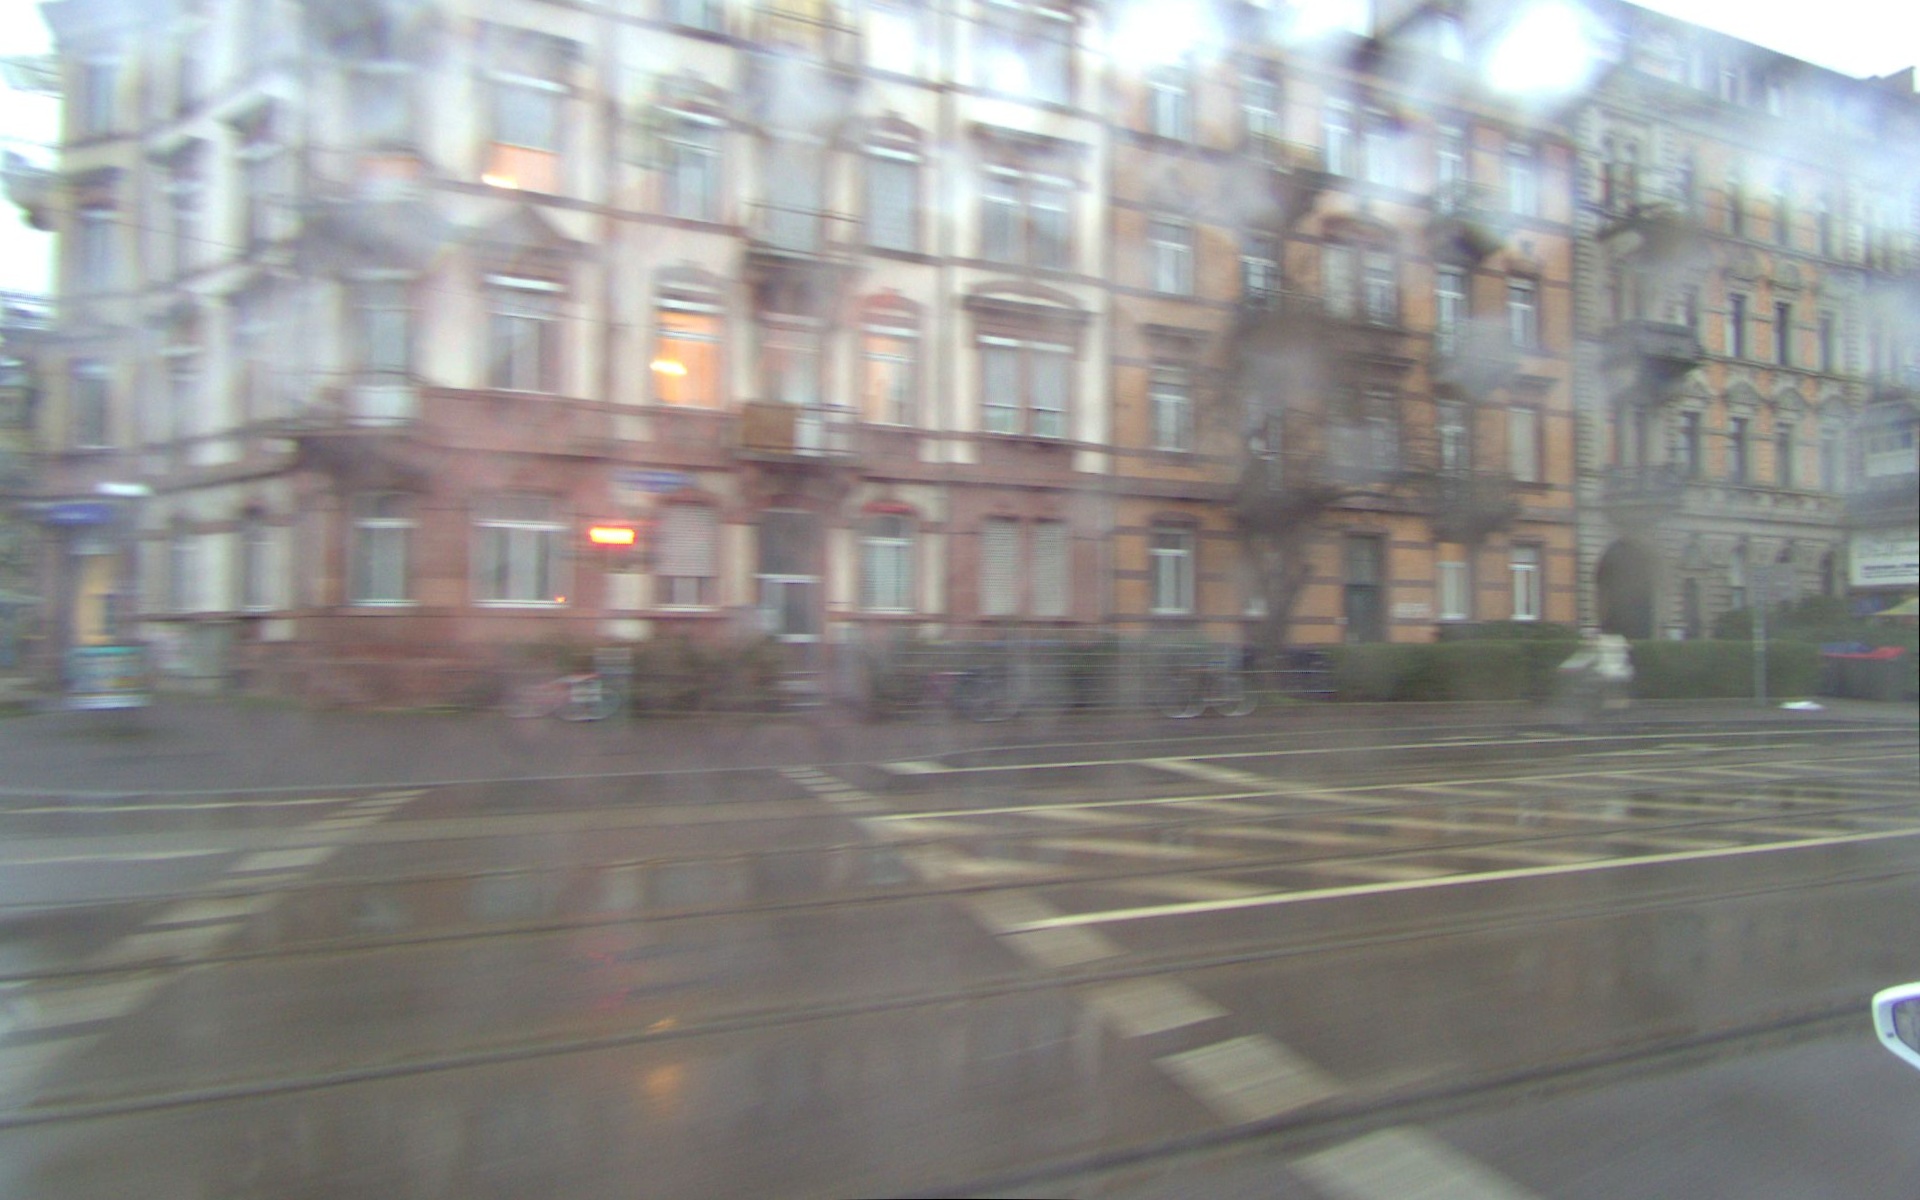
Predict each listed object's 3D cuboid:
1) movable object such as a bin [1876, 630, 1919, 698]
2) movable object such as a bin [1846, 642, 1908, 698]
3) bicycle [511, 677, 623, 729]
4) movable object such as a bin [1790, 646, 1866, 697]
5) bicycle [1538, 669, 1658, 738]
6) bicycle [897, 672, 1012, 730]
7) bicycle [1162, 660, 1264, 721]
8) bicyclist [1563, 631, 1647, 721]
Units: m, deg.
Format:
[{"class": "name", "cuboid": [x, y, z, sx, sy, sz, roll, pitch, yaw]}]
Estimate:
[{"class": "movable object such as a bin", "cuboid": [23.398, 1.548, 24.374, 1.286, 1.607, 1.244, 1, -1, -16]}, {"class": "movable object such as a bin", "cuboid": [22.364, 1.688, 24.504, 0.736, 1.309, 0.893, 1, -1, -23]}, {"class": "bicycle", "cuboid": [-6.343, 1.653, 16.206, 1.774, 0.769, 0.401, 0, -2, 16]}, {"class": "movable object such as a bin", "cuboid": [22.063, 1.802, 25.552, 0.932, 1.223, 1.182, 1, -1, -23]}, {"class": "bicycle", "cuboid": [10.219, 1.641, 16.086, 1.775, 1.020, 0.681, 1, -2, -20]}, {"class": "bicycle", "cuboid": [-0.083, 1.609, 16.133, 1.821, 0.873, 0.399, 1, -2, -20]}, {"class": "bicycle", "cuboid": [4.438, 1.576, 17.619, 1.821, 1.020, 0.416, 1, -2, -20]}, {"class": "bicyclist", "cuboid": [10.363, 1.210, 16.140, 0.929, 1.382, 0.703, 1, 0, -20]}]
